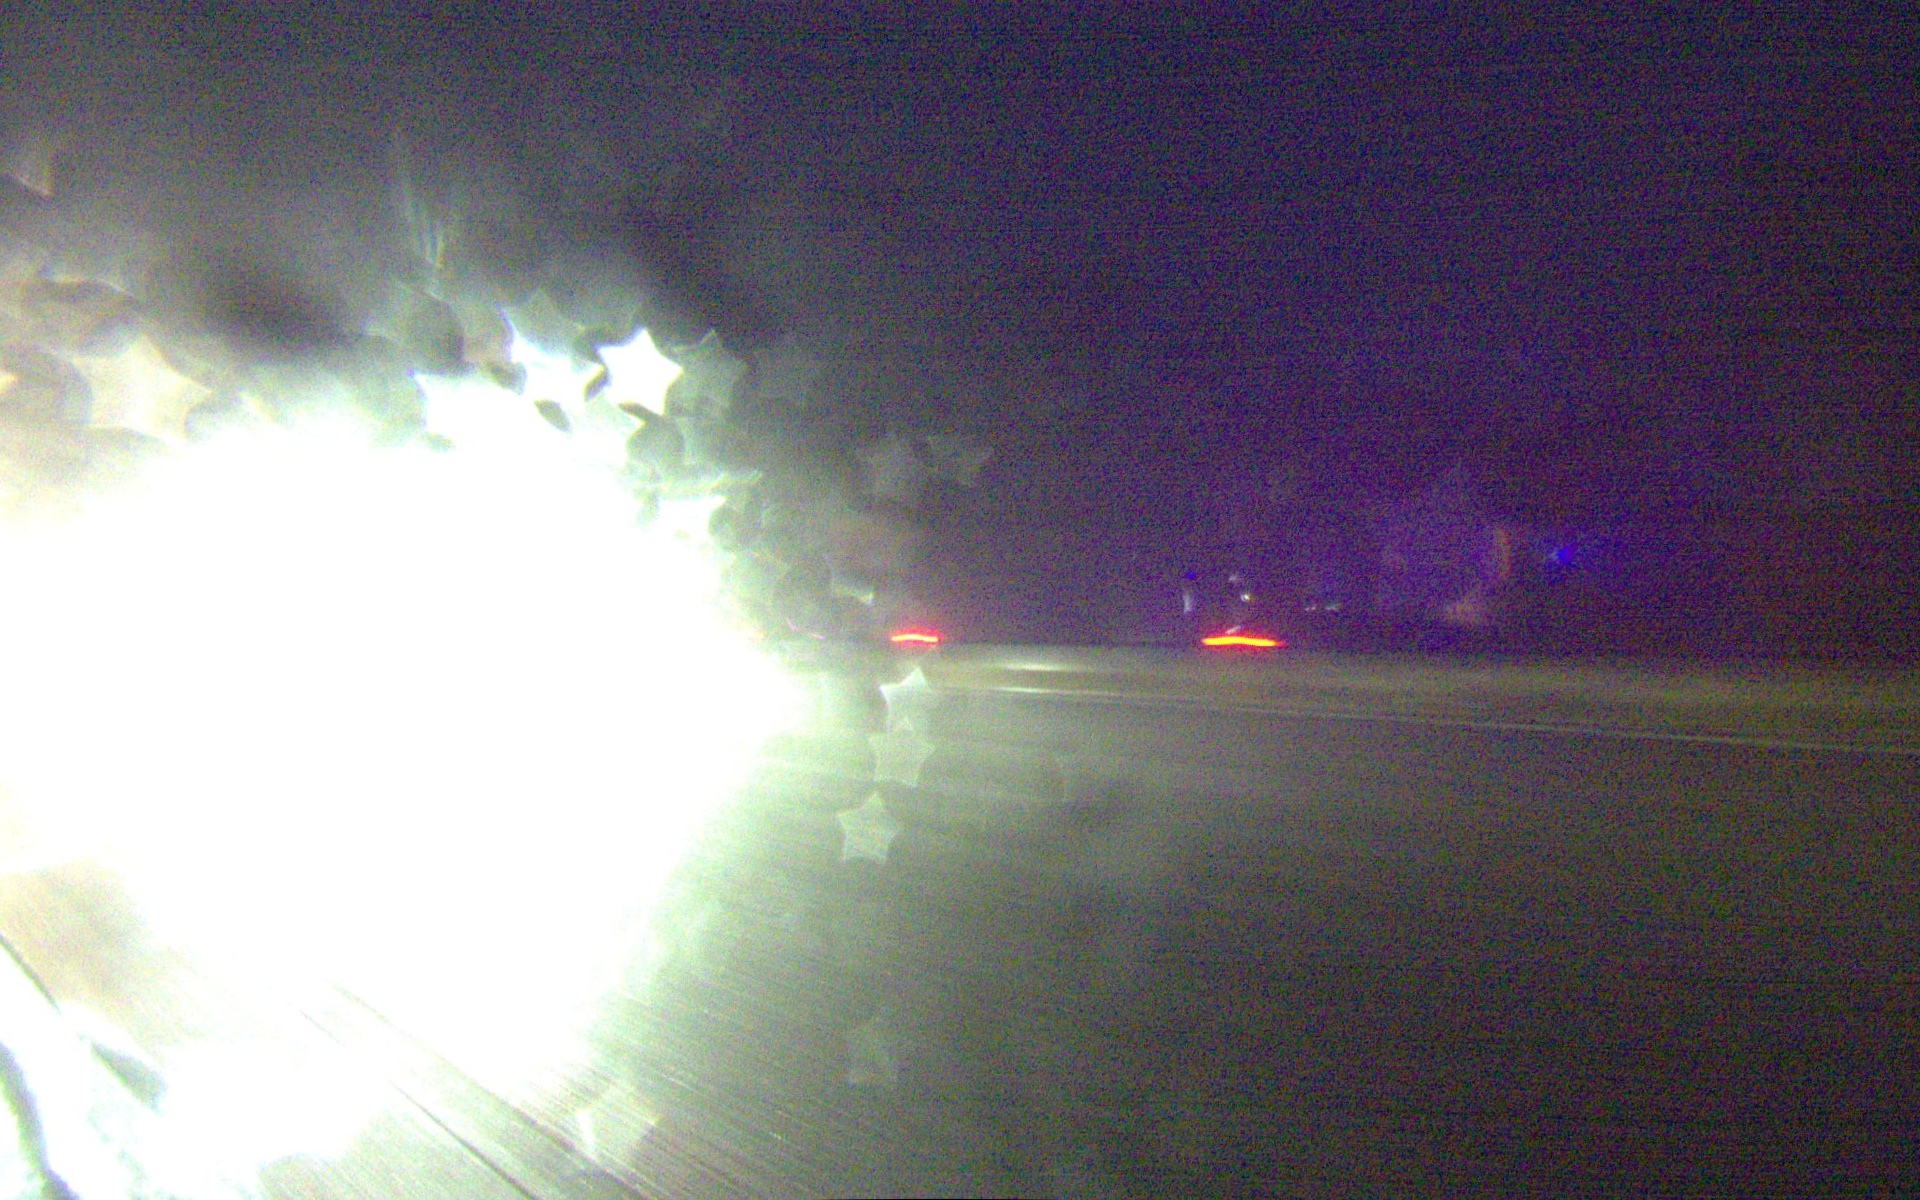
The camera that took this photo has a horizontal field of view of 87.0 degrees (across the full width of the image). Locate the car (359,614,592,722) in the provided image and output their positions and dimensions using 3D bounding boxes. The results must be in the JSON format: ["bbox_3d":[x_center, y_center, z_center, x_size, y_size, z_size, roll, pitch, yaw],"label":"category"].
[{"bbox_3d":[-7.815,0.979,16.176,3.999,1.452,1.973,-1,0,42],"label":"car"}]

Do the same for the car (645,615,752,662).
[{"bbox_3d":[-10.620,1.505,40.922,4.559,1.734,1.861,-1,0,40],"label":"car"}]

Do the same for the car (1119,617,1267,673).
[{"bbox_3d":[7.861,1.467,34.417,4.559,1.734,1.861,-1,0,40],"label":"car"}]

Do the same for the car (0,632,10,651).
[{"bbox_3d":[-90.003,3.874,94.116,4.587,1.572,1.972,-1,0,42],"label":"car"}]

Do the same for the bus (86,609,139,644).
[{"bbox_3d":[-117.165,3.582,139.709,16.538,4.482,3.335,-1,0,42],"label":"bus"}]

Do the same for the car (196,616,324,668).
[{"bbox_3d":[-22.324,1.278,32.197,5.159,1.487,1.974,-1,0,39],"label":"car"}]

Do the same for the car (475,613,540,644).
[{"bbox_3d":[-27.035,1.671,60.453,4.562,1.734,1.860,-1,0,42],"label":"car"}]

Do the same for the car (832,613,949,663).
[{"bbox_3d":[-2.693,1.395,38.375,1.858,1.734,4.566,-1,0,-45],"label":"car"}]

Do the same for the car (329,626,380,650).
[{"bbox_3d":[-46.141,2.872,77.138,4.558,1.734,1.862,-1,0,39],"label":"car"}]

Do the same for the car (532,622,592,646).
[{"bbox_3d":[-25.034,2.111,63.572,3.892,1.444,1.861,-1,0,40],"label":"car"}]
